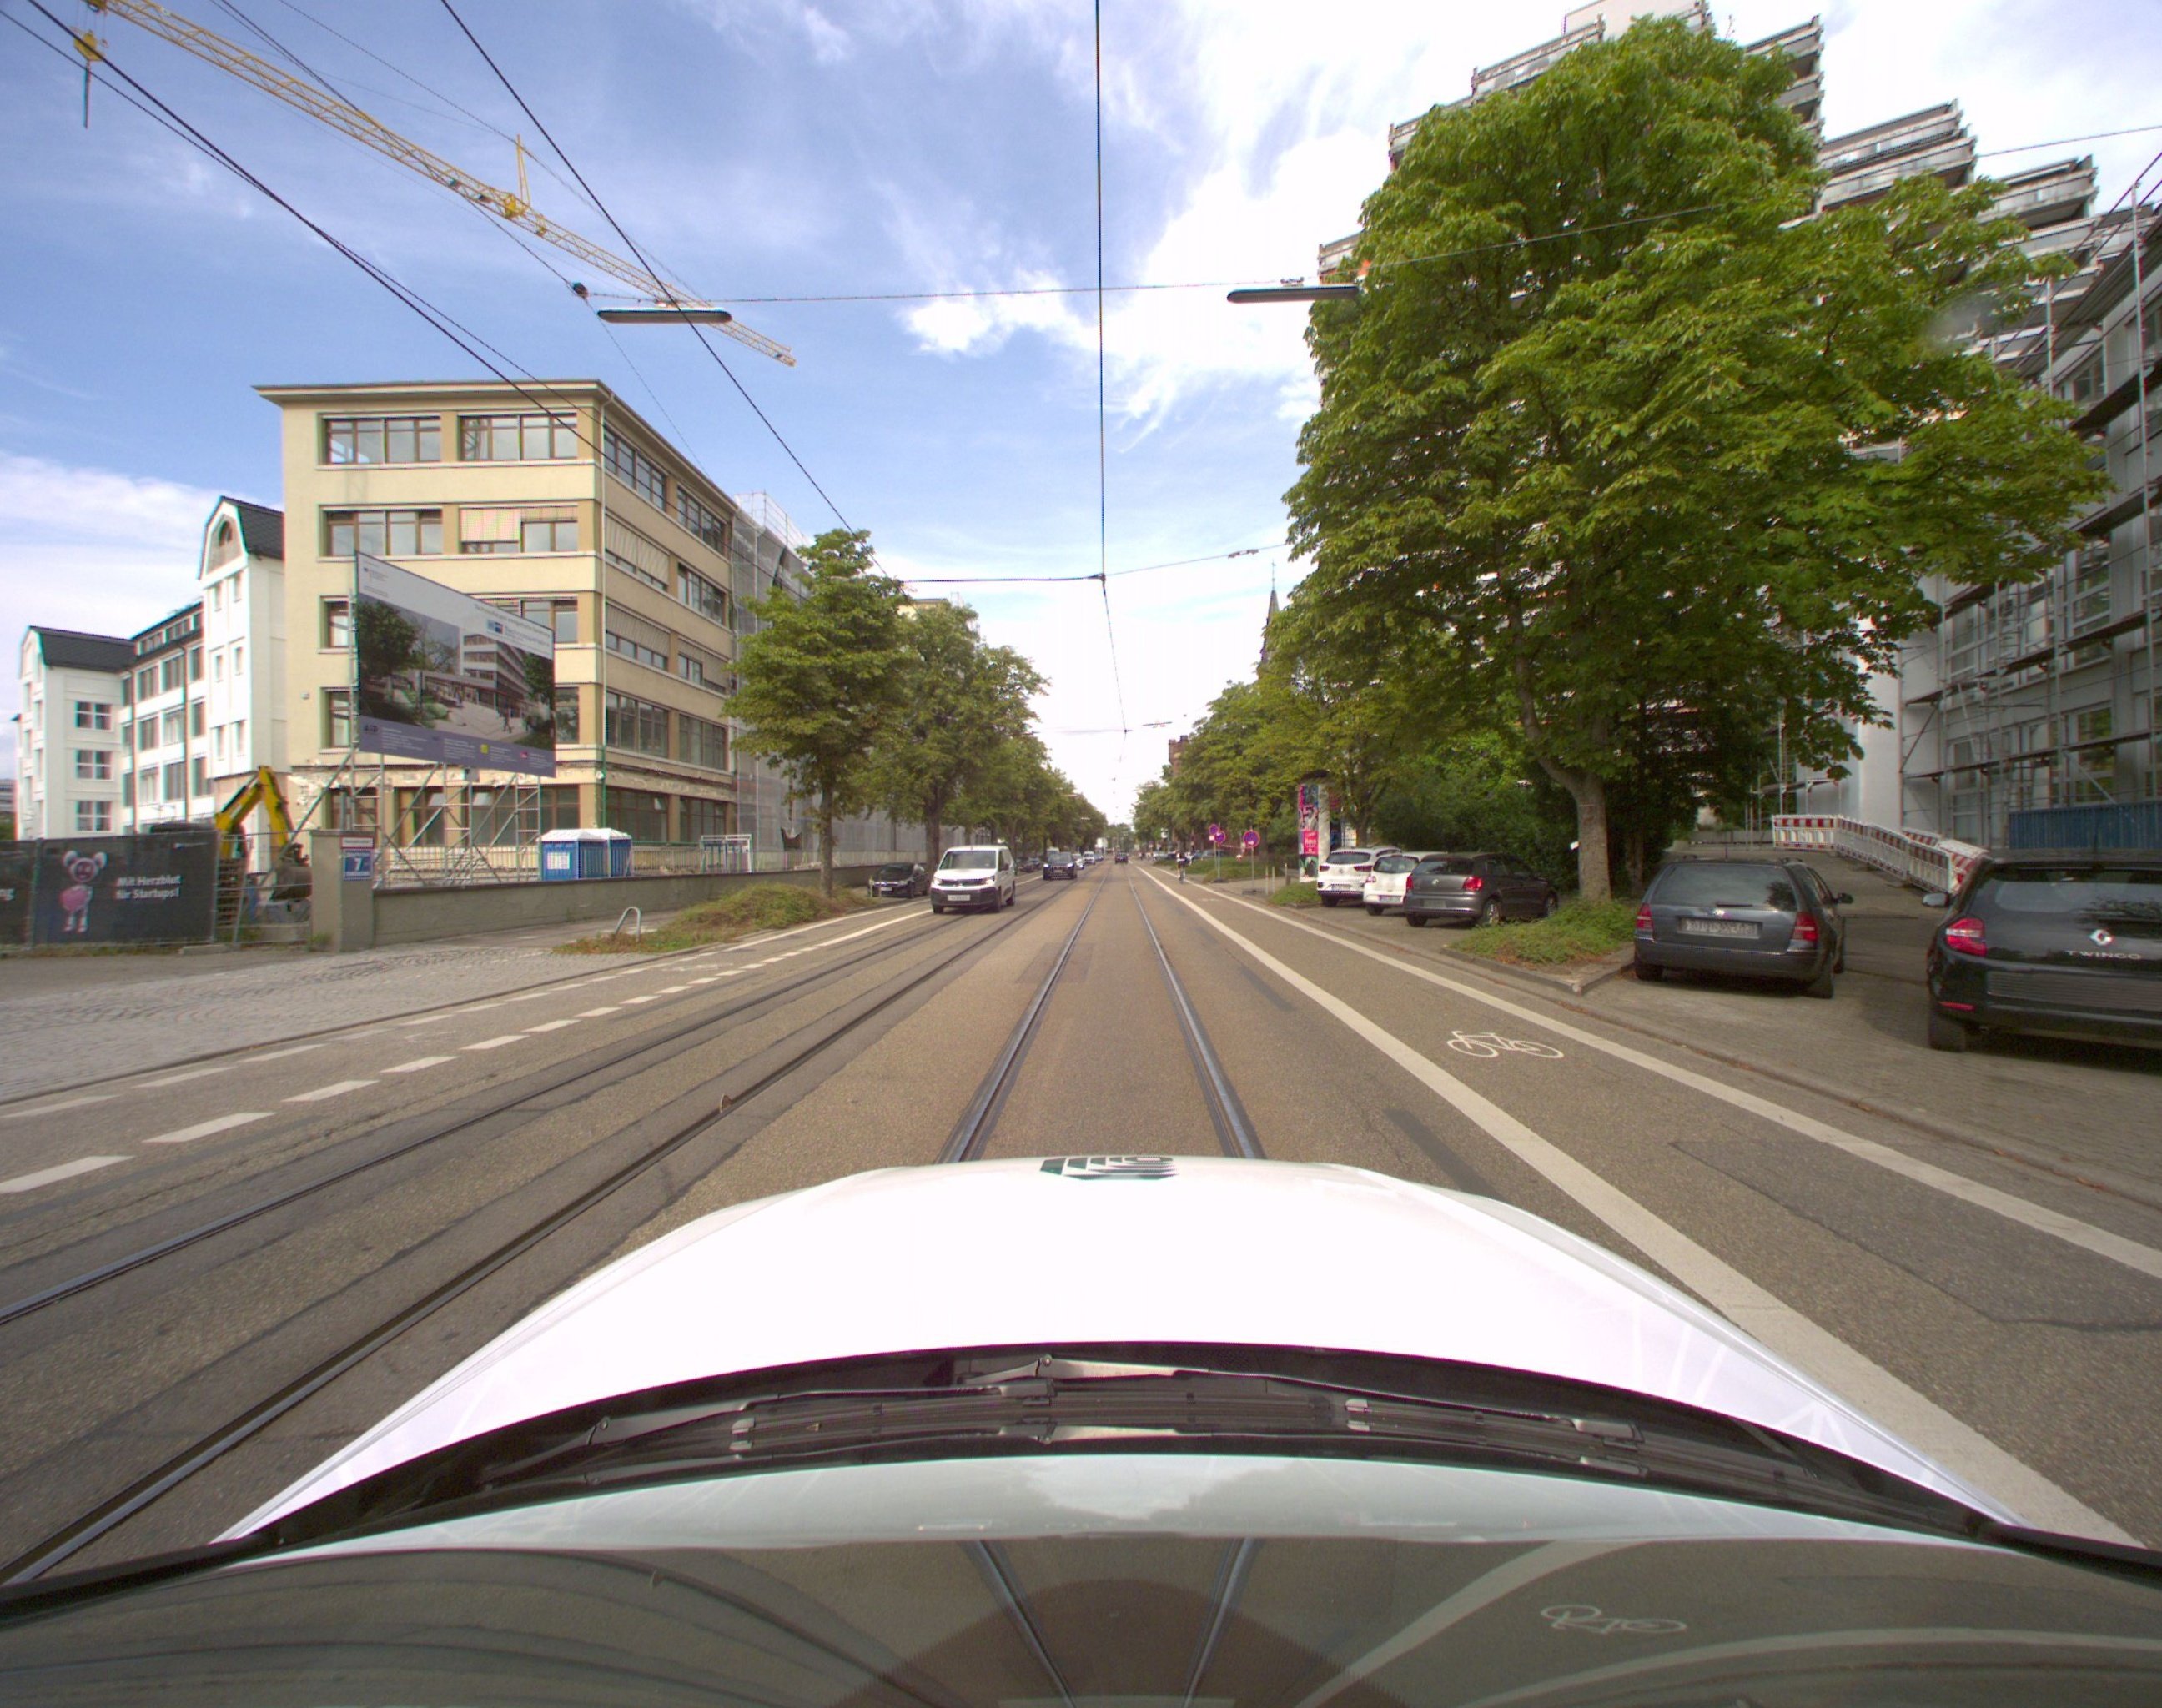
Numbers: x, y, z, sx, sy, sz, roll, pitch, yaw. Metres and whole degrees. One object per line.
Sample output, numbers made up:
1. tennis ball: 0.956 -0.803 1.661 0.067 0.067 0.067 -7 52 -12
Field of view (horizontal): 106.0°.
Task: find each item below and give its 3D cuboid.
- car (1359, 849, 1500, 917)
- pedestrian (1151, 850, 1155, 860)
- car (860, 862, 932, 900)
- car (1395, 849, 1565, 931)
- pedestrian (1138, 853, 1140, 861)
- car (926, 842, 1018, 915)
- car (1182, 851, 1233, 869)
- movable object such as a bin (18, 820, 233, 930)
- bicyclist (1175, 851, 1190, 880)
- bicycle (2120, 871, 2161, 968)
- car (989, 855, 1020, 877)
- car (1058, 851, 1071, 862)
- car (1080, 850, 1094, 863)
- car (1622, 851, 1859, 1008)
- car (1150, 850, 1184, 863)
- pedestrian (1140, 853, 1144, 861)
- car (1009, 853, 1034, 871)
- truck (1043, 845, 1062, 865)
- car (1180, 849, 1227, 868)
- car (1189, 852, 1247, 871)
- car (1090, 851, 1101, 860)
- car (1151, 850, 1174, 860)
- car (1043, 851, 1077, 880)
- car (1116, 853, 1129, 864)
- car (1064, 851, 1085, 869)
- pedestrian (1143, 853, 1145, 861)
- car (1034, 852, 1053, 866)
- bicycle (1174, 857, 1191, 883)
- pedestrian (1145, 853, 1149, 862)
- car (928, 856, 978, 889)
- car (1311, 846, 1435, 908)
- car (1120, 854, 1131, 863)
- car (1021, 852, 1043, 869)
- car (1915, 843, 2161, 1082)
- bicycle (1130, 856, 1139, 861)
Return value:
1. car: 8.275 0.620 19.265 3.463 1.442 1.543 -1 0 -37
2. pedestrian: 12.106 0.198 137.134 0.723 1.646 0.767 0 0 4
3. car: -7.369 1.043 32.812 1.795 1.374 4.033 -2 0 2
4. car: 7.993 0.640 16.220 3.551 1.442 1.606 -1 0 -37
5. pedestrian: 14.477 0.850 204.035 0.515 2.013 0.480 0 0 6
6. car: -2.947 0.628 23.029 1.795 1.823 4.486 -2 0 2
7. car: 10.538 0.470 67.861 3.975 1.425 1.884 -1 0 -1
8. movable object such as a bin: -18.974 0.395 16.273 1.977 2.067 1.963 -1 0 4
9. bicyclist: 5.155 0.565 41.374 0.655 1.463 1.179 0 0 1
10. bicycle: 13.614 0.745 9.362 1.947 1.128 0.542 -2 -1 32
11. car: -5.871 0.869 62.795 1.795 1.583 4.033 -2 0 2
12. car: -2.671 0.393 132.144 1.795 1.583 4.033 -2 0 2
13. car: 0.821 0.326 111.488 1.795 1.622 4.486 -2 0 2
14. car: 7.764 0.705 9.463 3.760 1.458 1.620 0 0 -43
15. car: 10.410 0.275 98.936 3.975 1.508 1.884 -1 0 -1
16. pedestrian: 12.564 0.640 166.709 0.721 1.646 0.769 0 0 12
17. car: -5.283 0.691 73.024 1.795 1.583 4.033 -2 0 2
18. truck: -3.681 0.088 106.411 2.063 2.470 4.901 -2 0 2
19. car: 11.015 0.372 73.256 3.975 1.627 1.884 -1 0 -1
20. car: 10.218 0.545 60.962 3.975 1.425 1.884 -1 0 -1
21. car: 2.713 0.238 149.730 1.795 1.622 4.486 -2 0 2
22. car: 14.539 0.174 145.038 3.975 1.910 1.999 0 0 -1
23. car: -1.269 0.681 50.271 1.795 1.622 4.486 -2 0 2
24. car: 5.834 0.615 114.982 1.786 1.423 4.002 0 0 2
25. car: -0.572 0.529 78.161 1.795 1.622 4.486 -2 0 2
26. pedestrian: 15.951 0.842 206.245 0.515 2.013 0.480 0 0 6
27. car: -4.285 0.582 93.380 1.795 1.583 4.033 -2 0 2
28. bicycle: 5.149 0.805 41.383 0.655 1.249 2.125 0 0 1
29. pedestrian: 11.899 0.694 146.217 0.723 1.646 0.767 0 0 4
30. car: -6.726 0.953 43.196 1.795 1.583 4.033 -2 0 2
31. car: 8.064 0.569 22.375 3.463 1.573 1.543 -1 0 -37
32. car: 7.439 0.804 137.145 1.786 1.470 4.004 1 0 3
33. car: -4.910 0.646 81.981 1.795 1.583 4.033 -2 0 2
34. car: 8.088 0.691 6.691 3.760 1.522 1.620 0 0 -43
35. bicycle: 11.046 0.955 167.166 1.709 0.991 0.660 0 0 11
